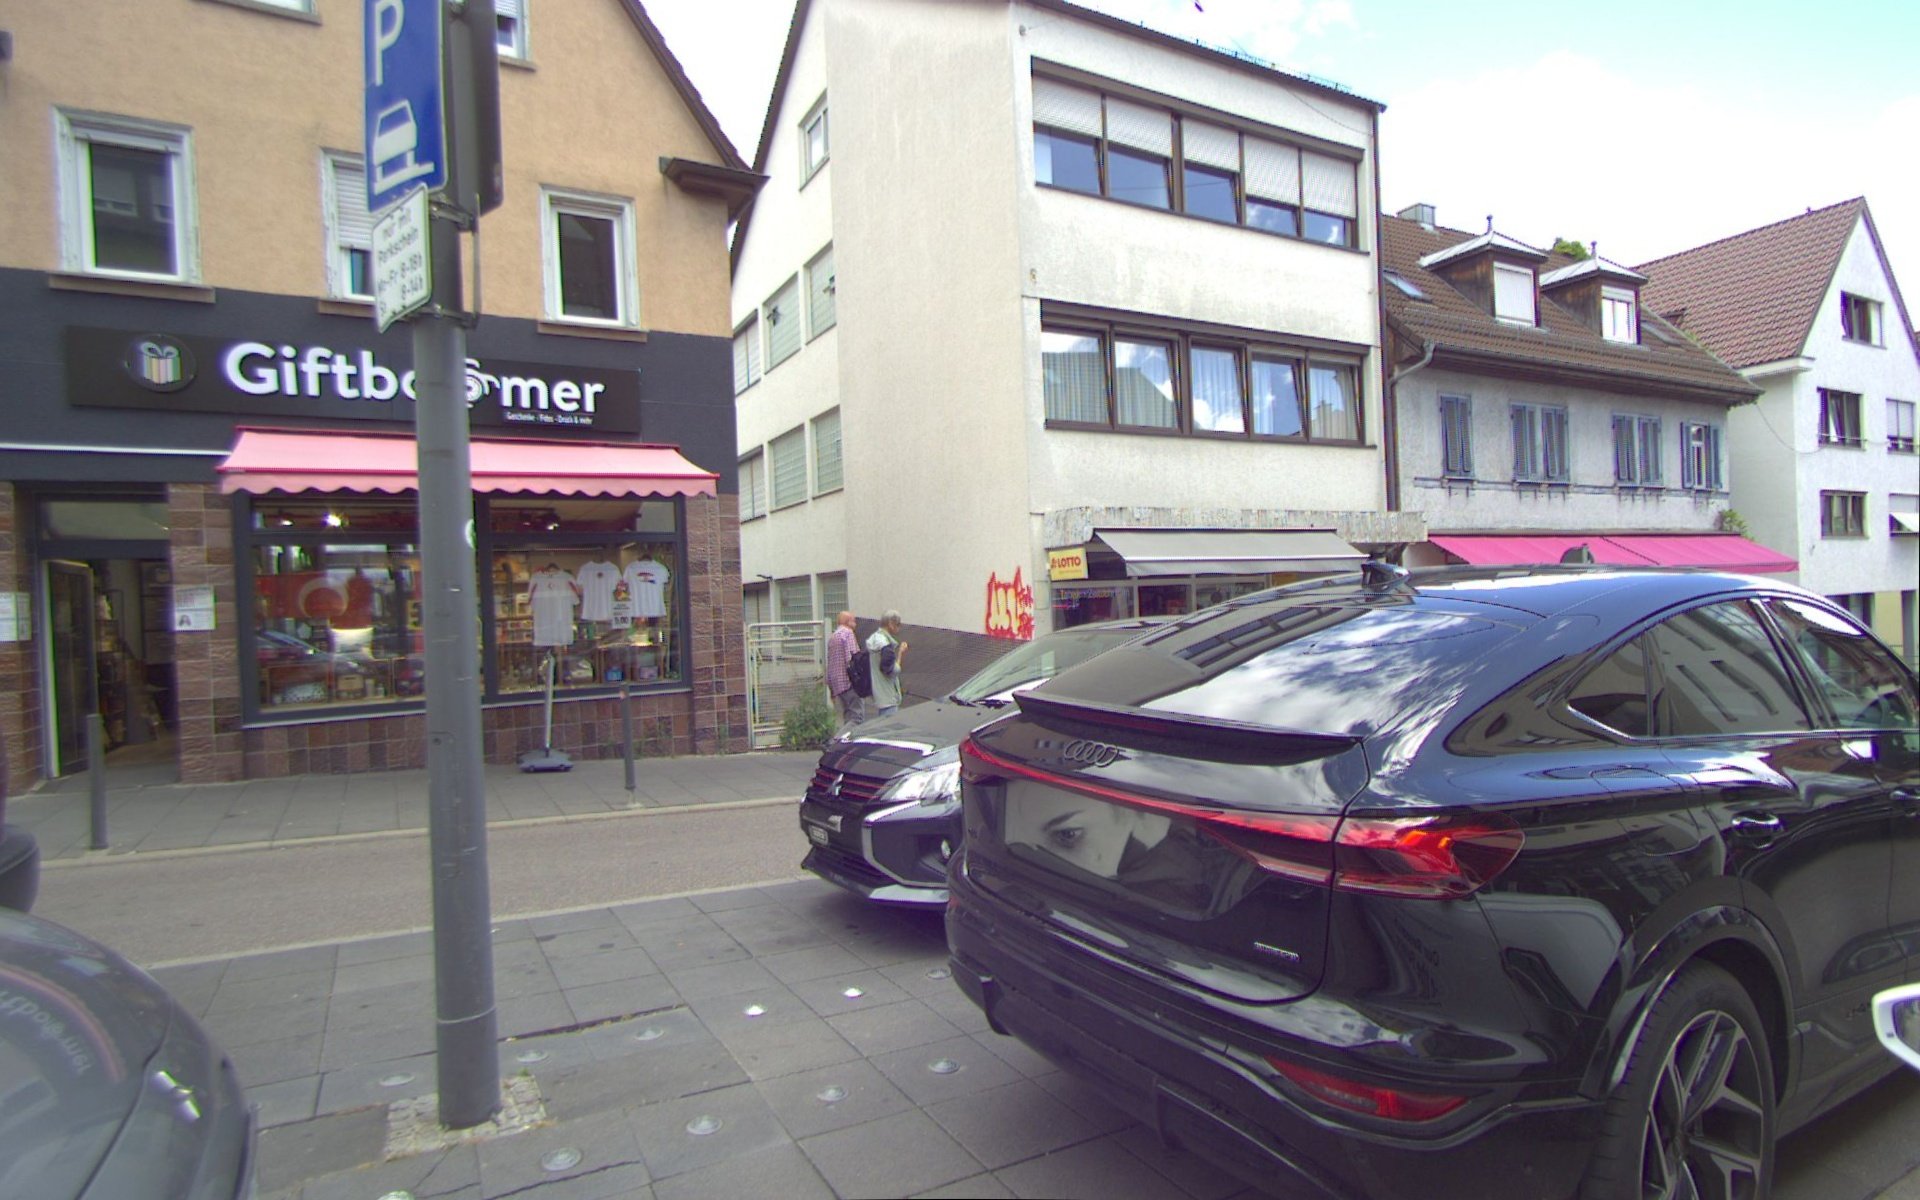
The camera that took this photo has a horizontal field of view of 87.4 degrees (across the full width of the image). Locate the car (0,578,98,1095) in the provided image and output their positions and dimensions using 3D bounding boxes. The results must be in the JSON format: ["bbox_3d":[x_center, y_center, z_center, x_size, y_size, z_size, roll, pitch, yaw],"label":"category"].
[{"bbox_3d":[-4.817,0.687,2.215,4.146,1.563,1.730,1,-2,-32],"label":"car"}]

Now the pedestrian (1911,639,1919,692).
[{"bbox_3d":[26.532,1.795,27.571,0.527,1.440,0.454,1,0,-28],"label":"pedestrian"}]

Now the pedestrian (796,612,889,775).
[{"bbox_3d":[-1.298,0.993,11.058,0.817,1.711,0.636,1,-1,-28],"label":"pedestrian"}]

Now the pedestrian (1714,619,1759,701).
[{"bbox_3d":[16.621,1.279,21.501,0.570,1.711,0.575,1,0,-31],"label":"pedestrian"}]

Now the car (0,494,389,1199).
[{"bbox_3d":[-2.459,0.660,0.622,3.628,1.553,1.612,1,0,-31],"label":"car"}]

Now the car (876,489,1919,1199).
[{"bbox_3d":[2.056,0.702,3.476,4.266,1.661,1.946,1,0,-32],"label":"car"}]

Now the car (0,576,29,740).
[{"bbox_3d":[-11.432,0.690,10.229,1.860,1.898,4.054,0,1,-28],"label":"car"}]

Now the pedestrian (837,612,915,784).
[{"bbox_3d":[-0.863,0.986,10.400,0.653,1.711,0.646,-1,-1,9],"label":"pedestrian"}]

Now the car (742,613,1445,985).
[{"bbox_3d":[0.872,0.866,5.820,3.841,1.495,1.730,1,-2,-32],"label":"car"}]
